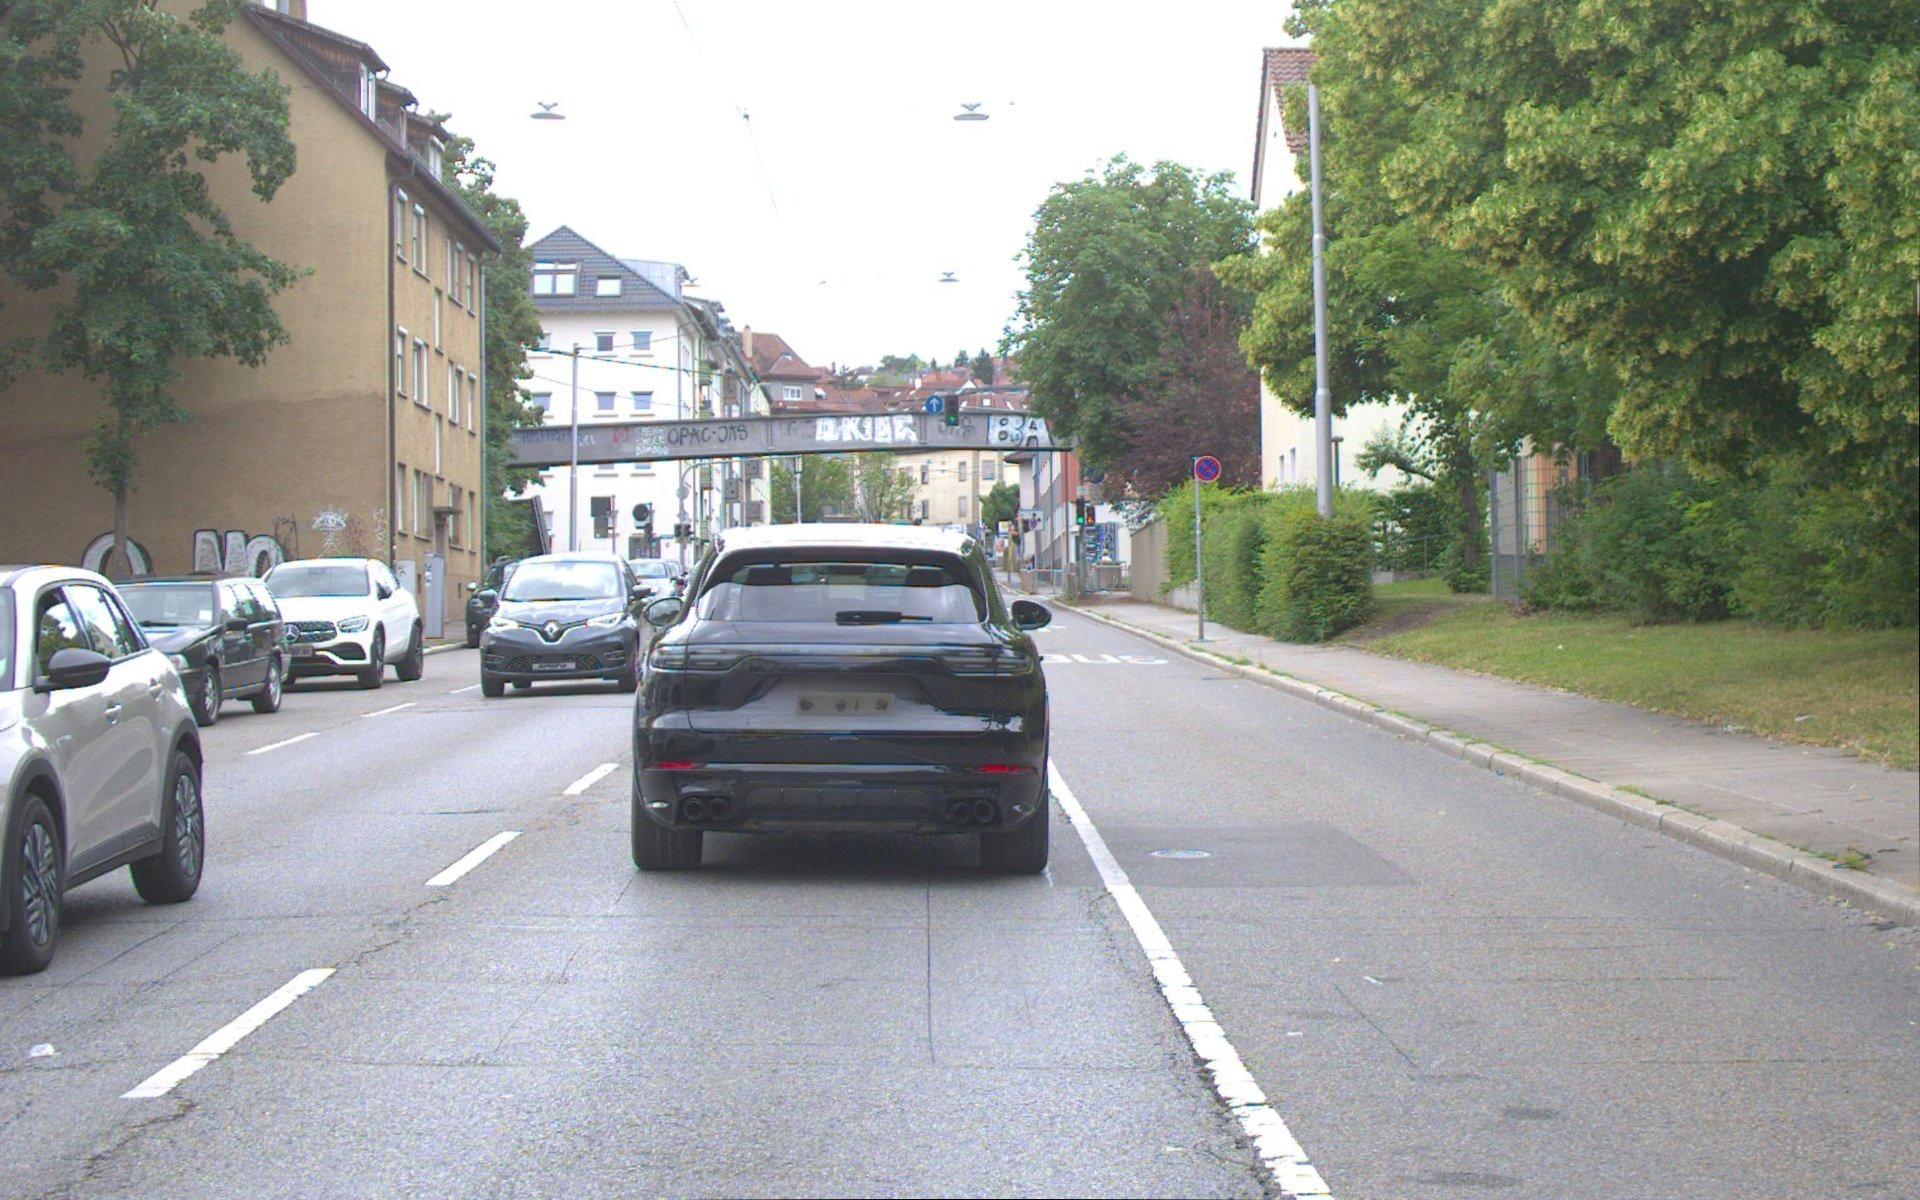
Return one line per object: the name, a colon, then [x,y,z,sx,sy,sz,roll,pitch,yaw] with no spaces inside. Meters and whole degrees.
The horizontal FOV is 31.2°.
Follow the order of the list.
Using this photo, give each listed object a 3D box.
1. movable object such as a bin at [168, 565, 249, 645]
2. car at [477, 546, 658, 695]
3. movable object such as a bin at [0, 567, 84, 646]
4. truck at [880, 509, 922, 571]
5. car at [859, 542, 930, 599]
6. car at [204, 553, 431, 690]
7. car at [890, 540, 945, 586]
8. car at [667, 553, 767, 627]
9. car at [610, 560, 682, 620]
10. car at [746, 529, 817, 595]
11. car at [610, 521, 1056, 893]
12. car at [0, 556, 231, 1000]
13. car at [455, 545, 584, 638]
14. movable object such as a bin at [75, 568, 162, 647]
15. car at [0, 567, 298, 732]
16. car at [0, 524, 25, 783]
movable object such as a bin: [-13.672,0.084,62.543,1.281,1.423,1.279,0,1,-5]
car: [-4.398,0.194,38.975,1.683,1.550,3.719,-2,1,-2]
movable object such as a bin: [-16.777,0.112,62.726,1.392,1.423,0.913,0,1,-3]
truck: [-3.355,-3.409,196.056,2.266,3.413,9.879,-1,1,-1]
car: [-1.632,-0.764,87.240,1.741,1.395,4.000,0,1,0]
car: [-7.953,0.218,42.939,1.915,1.572,4.700,-1,1,0]
car: [-1.341,-1.202,109.834,1.741,1.395,4.000,0,1,0]
car: [-5.104,-0.238,72.766,1.778,1.461,4.499,-1,1,0]
car: [-8.670,-0.289,95.286,1.745,1.563,3.908,-2,1,-2]
car: [-5.306,-1.148,102.659,1.931,1.894,4.590,-1,1,-1]
car: [-0.580,0.432,17.405,1.993,1.656,4.000,0,1,0]
car: [-4.257,0.618,13.814,1.797,1.520,4.000,-2,1,-1]
car: [-8.271,-0.188,64.873,1.783,1.603,4.264,-3,1,1]
movable object such as a bin: [-15.353,0.133,62.782,1.392,1.423,0.913,0,1,-3]
car: [-7.964,0.434,33.882,1.798,1.426,4.743,-2,1,2]
car: [-7.661,0.429,22.617,1.851,1.829,4.702,-2,1,-2]
